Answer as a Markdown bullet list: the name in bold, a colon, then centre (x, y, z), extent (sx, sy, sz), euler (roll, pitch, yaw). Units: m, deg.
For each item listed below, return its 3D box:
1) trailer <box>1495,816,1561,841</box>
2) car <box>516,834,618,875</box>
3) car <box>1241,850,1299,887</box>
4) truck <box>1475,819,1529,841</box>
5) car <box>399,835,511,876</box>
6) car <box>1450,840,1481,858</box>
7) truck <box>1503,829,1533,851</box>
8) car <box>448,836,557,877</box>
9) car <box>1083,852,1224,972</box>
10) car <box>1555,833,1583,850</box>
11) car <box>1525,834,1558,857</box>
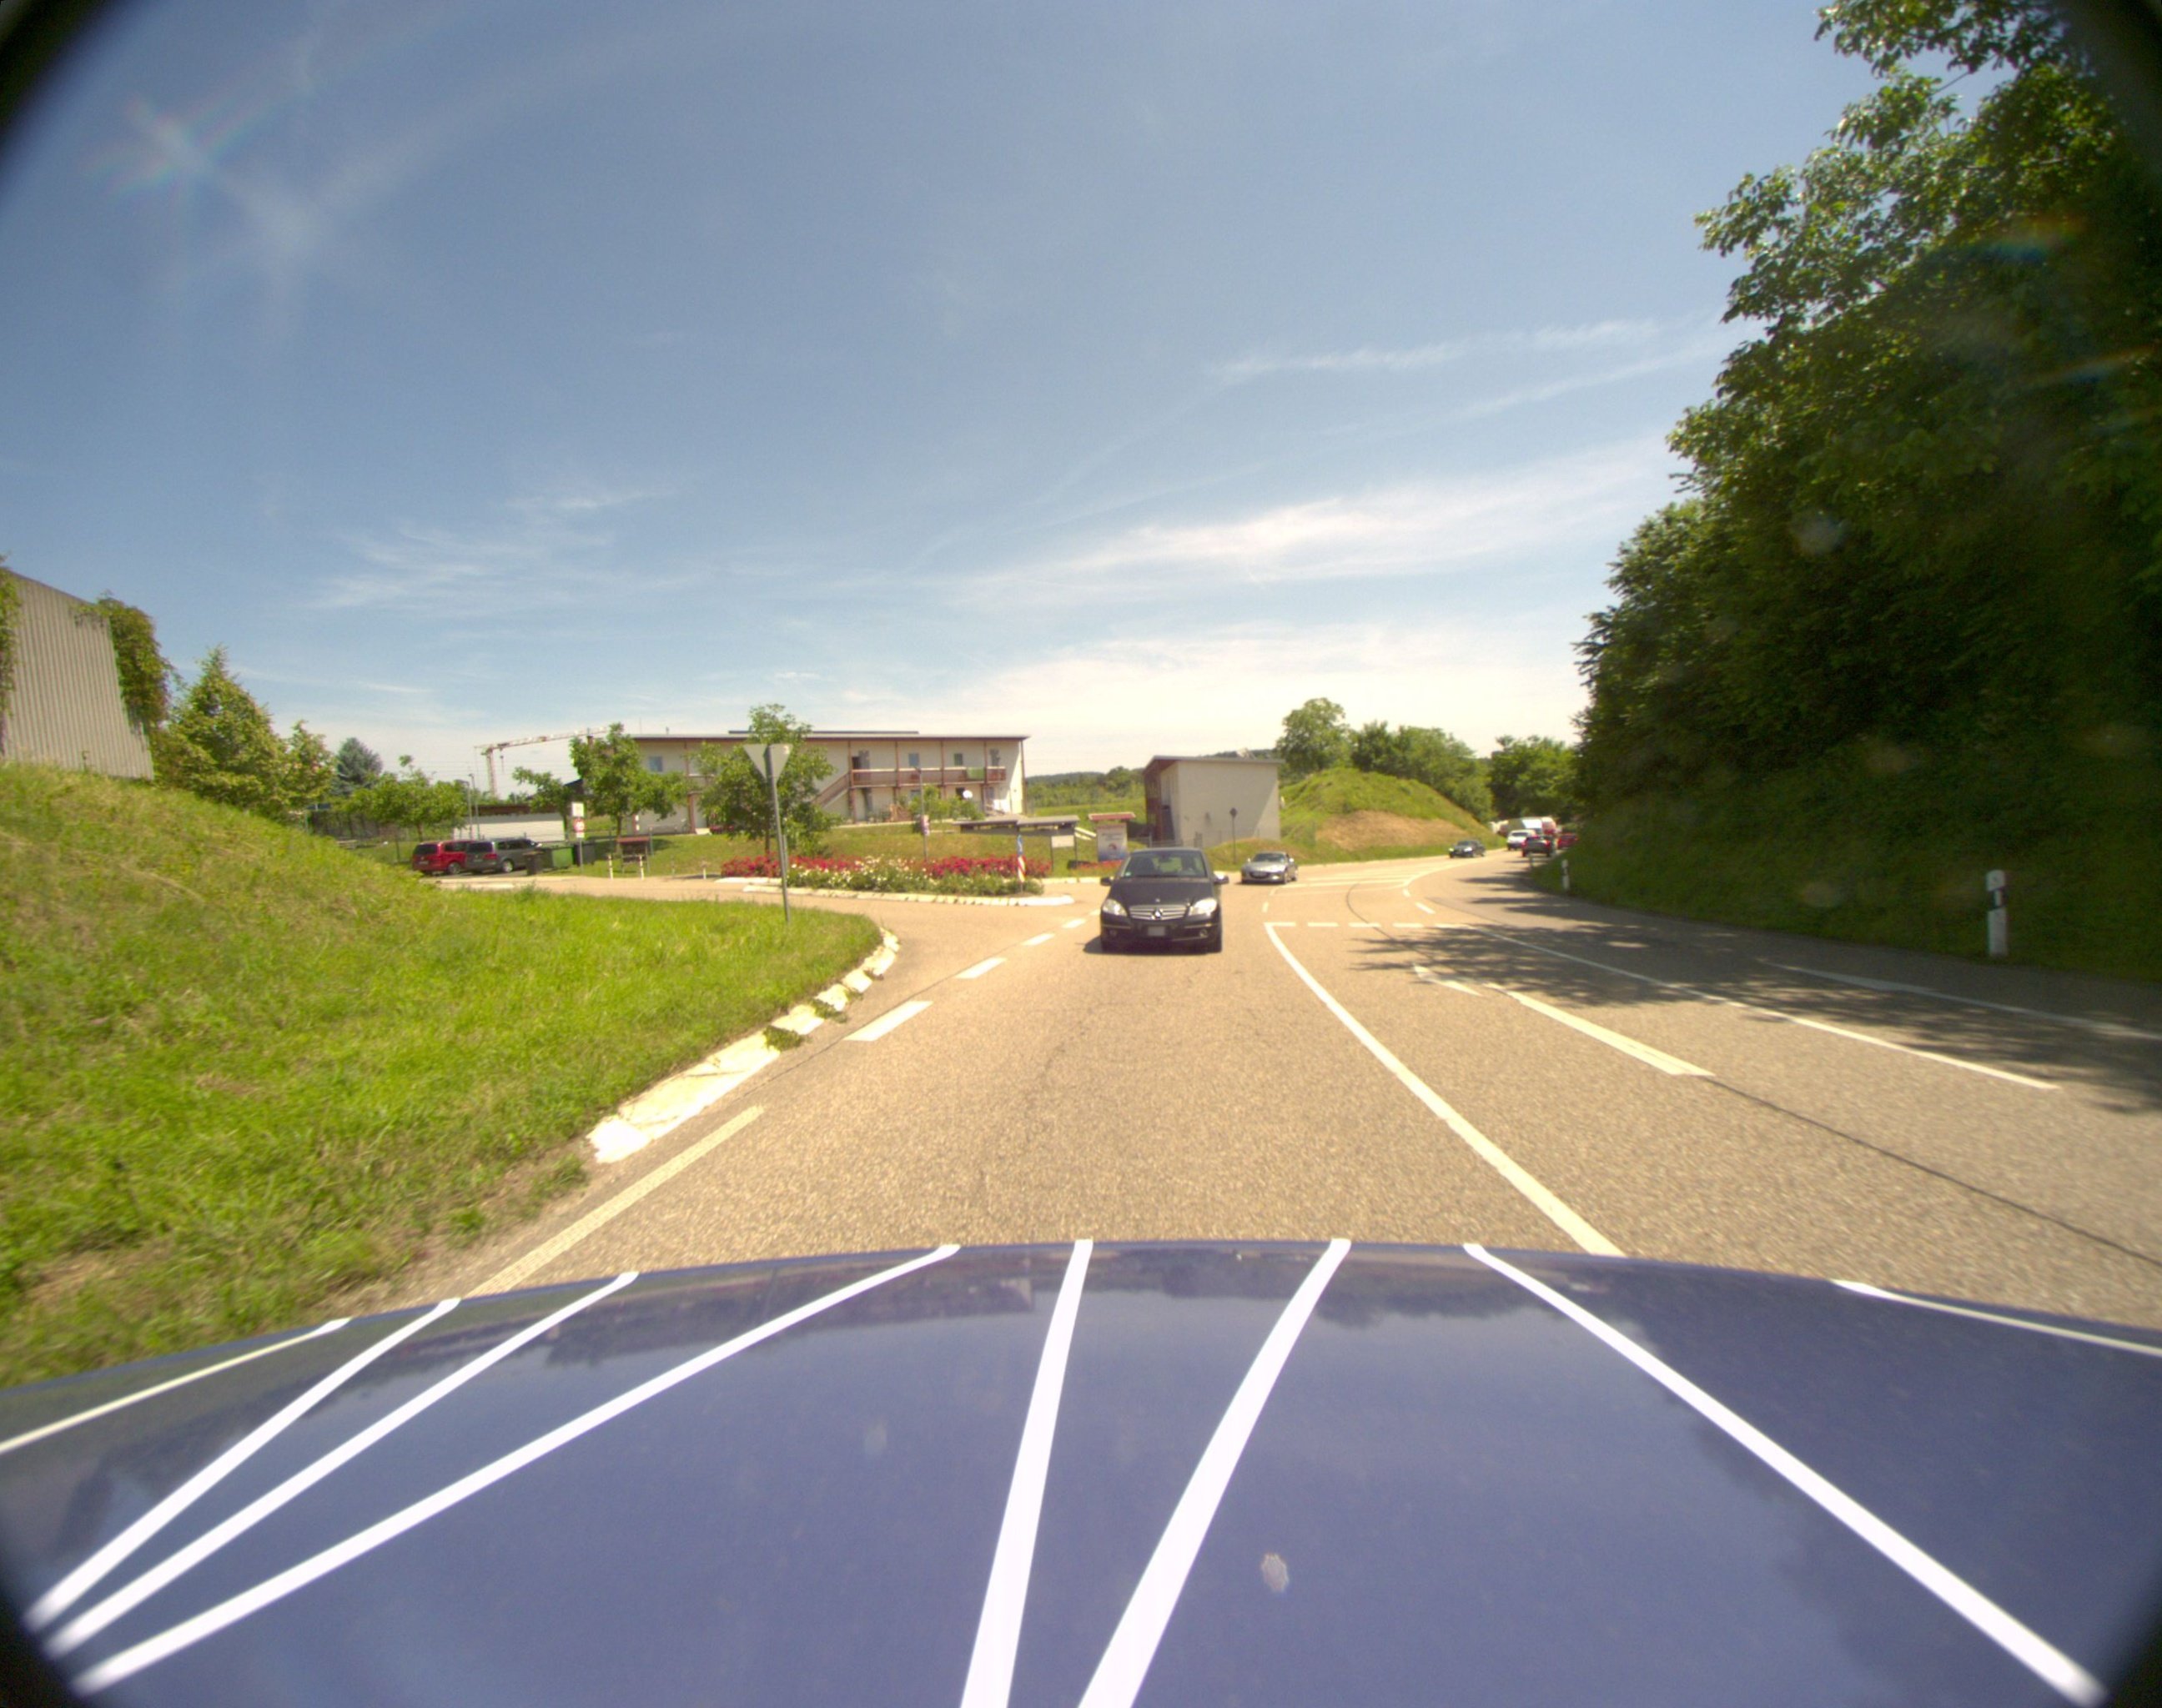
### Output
- **trailer**: centre (63.639, -3.523, 108.570), extent (2.640, 3.353, 11.139), euler (-2, 1, -1)
- **car**: centre (-25.074, -0.030, 37.271), extent (1.869, 1.742, 3.999), euler (-1, 4, 7)
- **car**: centre (7.579, 0.533, 30.296), extent (1.644, 1.315, 3.443), euler (1, 2, 25)
- **truck**: centre (63.452, -3.590, 114.606), extent (2.637, 3.152, 7.055), euler (-2, 1, -21)
- **car**: centre (-30.792, 0.027, 37.558), extent (1.869, 1.742, 3.999), euler (-1, 4, 7)
- **car**: centre (30.189, -0.399, 59.578), extent (1.751, 1.281, 4.153), euler (0, 1, 32)
- **truck**: centre (42.214, -1.355, 73.352), extent (2.067, 2.001, 5.255), euler (-1, 0, 35)
- **car**: centre (-28.253, 0.086, 37.289), extent (1.869, 1.742, 3.999), euler (-1, 4, 7)
- **car**: centre (1.311, 0.774, 12.123), extent (1.794, 1.570, 3.803), euler (-1, 1, 12)
- **car**: centre (45.099, -1.131, 70.198), extent (1.750, 1.439, 4.008), euler (0, 0, 39)
- **car**: centre (33.860, -0.636, 55.834), extent (1.791, 1.596, 4.187), euler (1, 3, 35)
